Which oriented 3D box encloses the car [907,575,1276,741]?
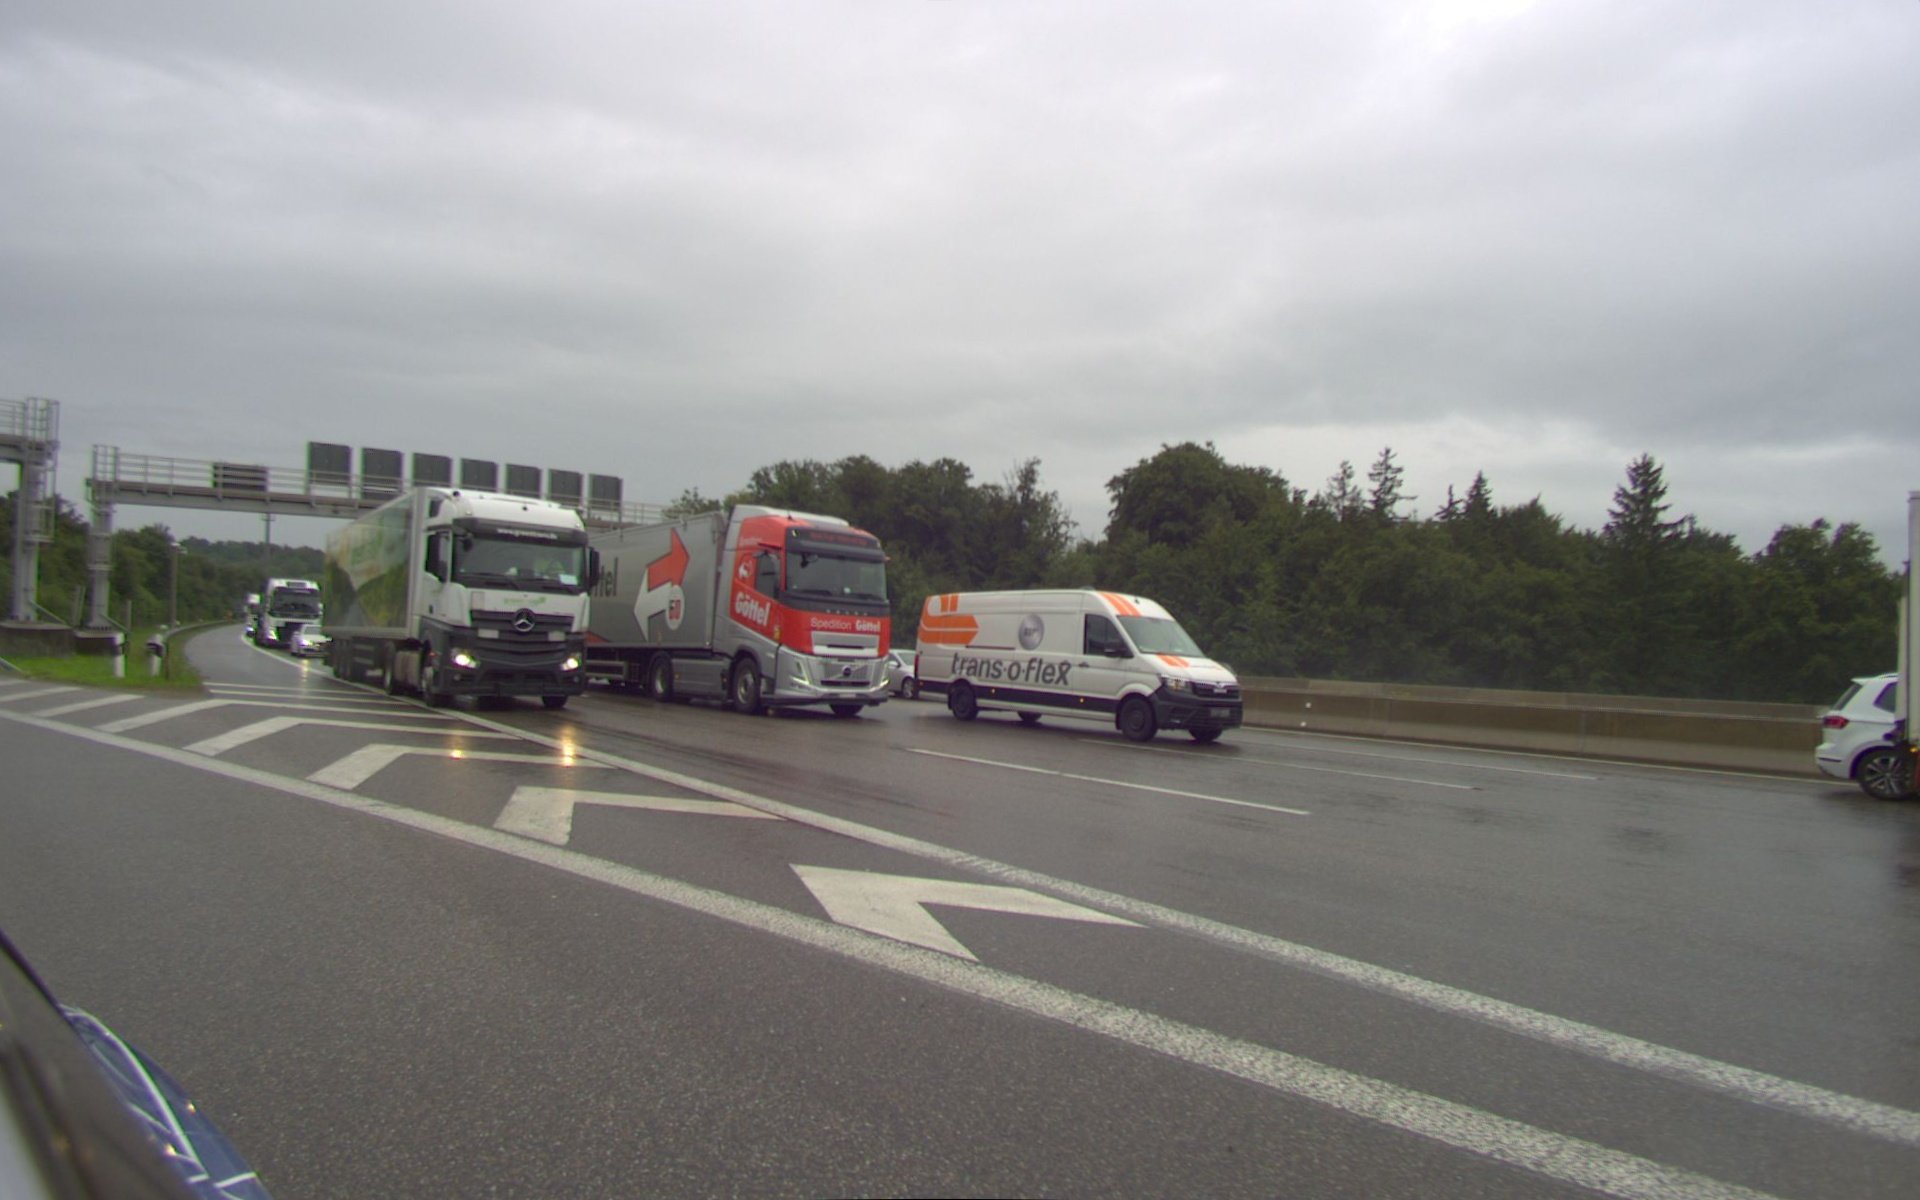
[{"bbox_3d":[2.062,0.984,18.906,2.121,2.507,7.379,4,-3,-39],"label":"car"}]

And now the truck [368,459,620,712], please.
[{"bbox_3d":[-9.452,-0.141,20.072,2.881,4.130,6.732,4,-3,-38],"label":"truck"}]

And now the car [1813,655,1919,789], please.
[{"bbox_3d":[12.623,1.467,11.376,1.594,1.534,4.423,4,-3,-39],"label":"car"}]

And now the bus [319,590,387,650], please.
[{"bbox_3d":[-41.131,1.211,68.389,2.857,3.796,10.453,0,1,-37],"label":"bus"}]

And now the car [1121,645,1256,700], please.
[{"bbox_3d":[7.900,2.496,35.270,1.968,1.708,4.273,4,-4,-39],"label":"car"}]

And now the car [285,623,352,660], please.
[{"bbox_3d":[-28.542,1.822,44.952,1.903,1.534,4.771,4,-3,-39],"label":"car"}]

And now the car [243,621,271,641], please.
[{"bbox_3d":[-62.633,2.729,90.138,1.790,1.697,4.008,2,-2,-38],"label":"car"}]

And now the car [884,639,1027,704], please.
[{"bbox_3d":[-0.188,1.916,27.839,1.778,1.577,4.007,3,-3,-39],"label":"car"}]

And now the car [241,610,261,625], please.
[{"bbox_3d":[-84.375,2.043,120.406,1.790,1.770,4.697,2,-2,-36],"label":"car"}]

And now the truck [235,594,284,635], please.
[{"bbox_3d":[-69.364,1.345,100.123,3.482,3.876,9.455,0,1,-38],"label":"truck"}]

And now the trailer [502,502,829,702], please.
[{"bbox_3d":[-8.186,0.218,25.691,2.594,3.893,13.699,4,-4,-39],"label":"trailer"}]

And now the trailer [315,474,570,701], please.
[{"bbox_3d":[-13.374,-0.104,25.067,2.881,4.237,13.663,4,-3,-38],"label":"trailer"}]

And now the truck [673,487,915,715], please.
[{"bbox_3d":[-3.365,0.115,19.887,2.594,3.893,4.596,4,-4,-40],"label":"truck"}]

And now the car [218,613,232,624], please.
[{"bbox_3d":[-126.554,3.190,174.167,1.790,1.770,4.696,3,-3,-37],"label":"car"}]

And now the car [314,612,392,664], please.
[{"bbox_3d":[-22.204,1.364,36.958,1.771,1.807,4.247,3,-3,-39],"label":"car"}]

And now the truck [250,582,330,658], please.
[{"bbox_3d":[-40.520,1.035,60.987,3.303,4.101,12.601,0,1,-37],"label":"truck"}]

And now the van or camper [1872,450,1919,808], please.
[{"bbox_3d":[11.718,0.276,7.454,2.547,3.228,7.142,4,-3,-40],"label":"van or camper"}]
